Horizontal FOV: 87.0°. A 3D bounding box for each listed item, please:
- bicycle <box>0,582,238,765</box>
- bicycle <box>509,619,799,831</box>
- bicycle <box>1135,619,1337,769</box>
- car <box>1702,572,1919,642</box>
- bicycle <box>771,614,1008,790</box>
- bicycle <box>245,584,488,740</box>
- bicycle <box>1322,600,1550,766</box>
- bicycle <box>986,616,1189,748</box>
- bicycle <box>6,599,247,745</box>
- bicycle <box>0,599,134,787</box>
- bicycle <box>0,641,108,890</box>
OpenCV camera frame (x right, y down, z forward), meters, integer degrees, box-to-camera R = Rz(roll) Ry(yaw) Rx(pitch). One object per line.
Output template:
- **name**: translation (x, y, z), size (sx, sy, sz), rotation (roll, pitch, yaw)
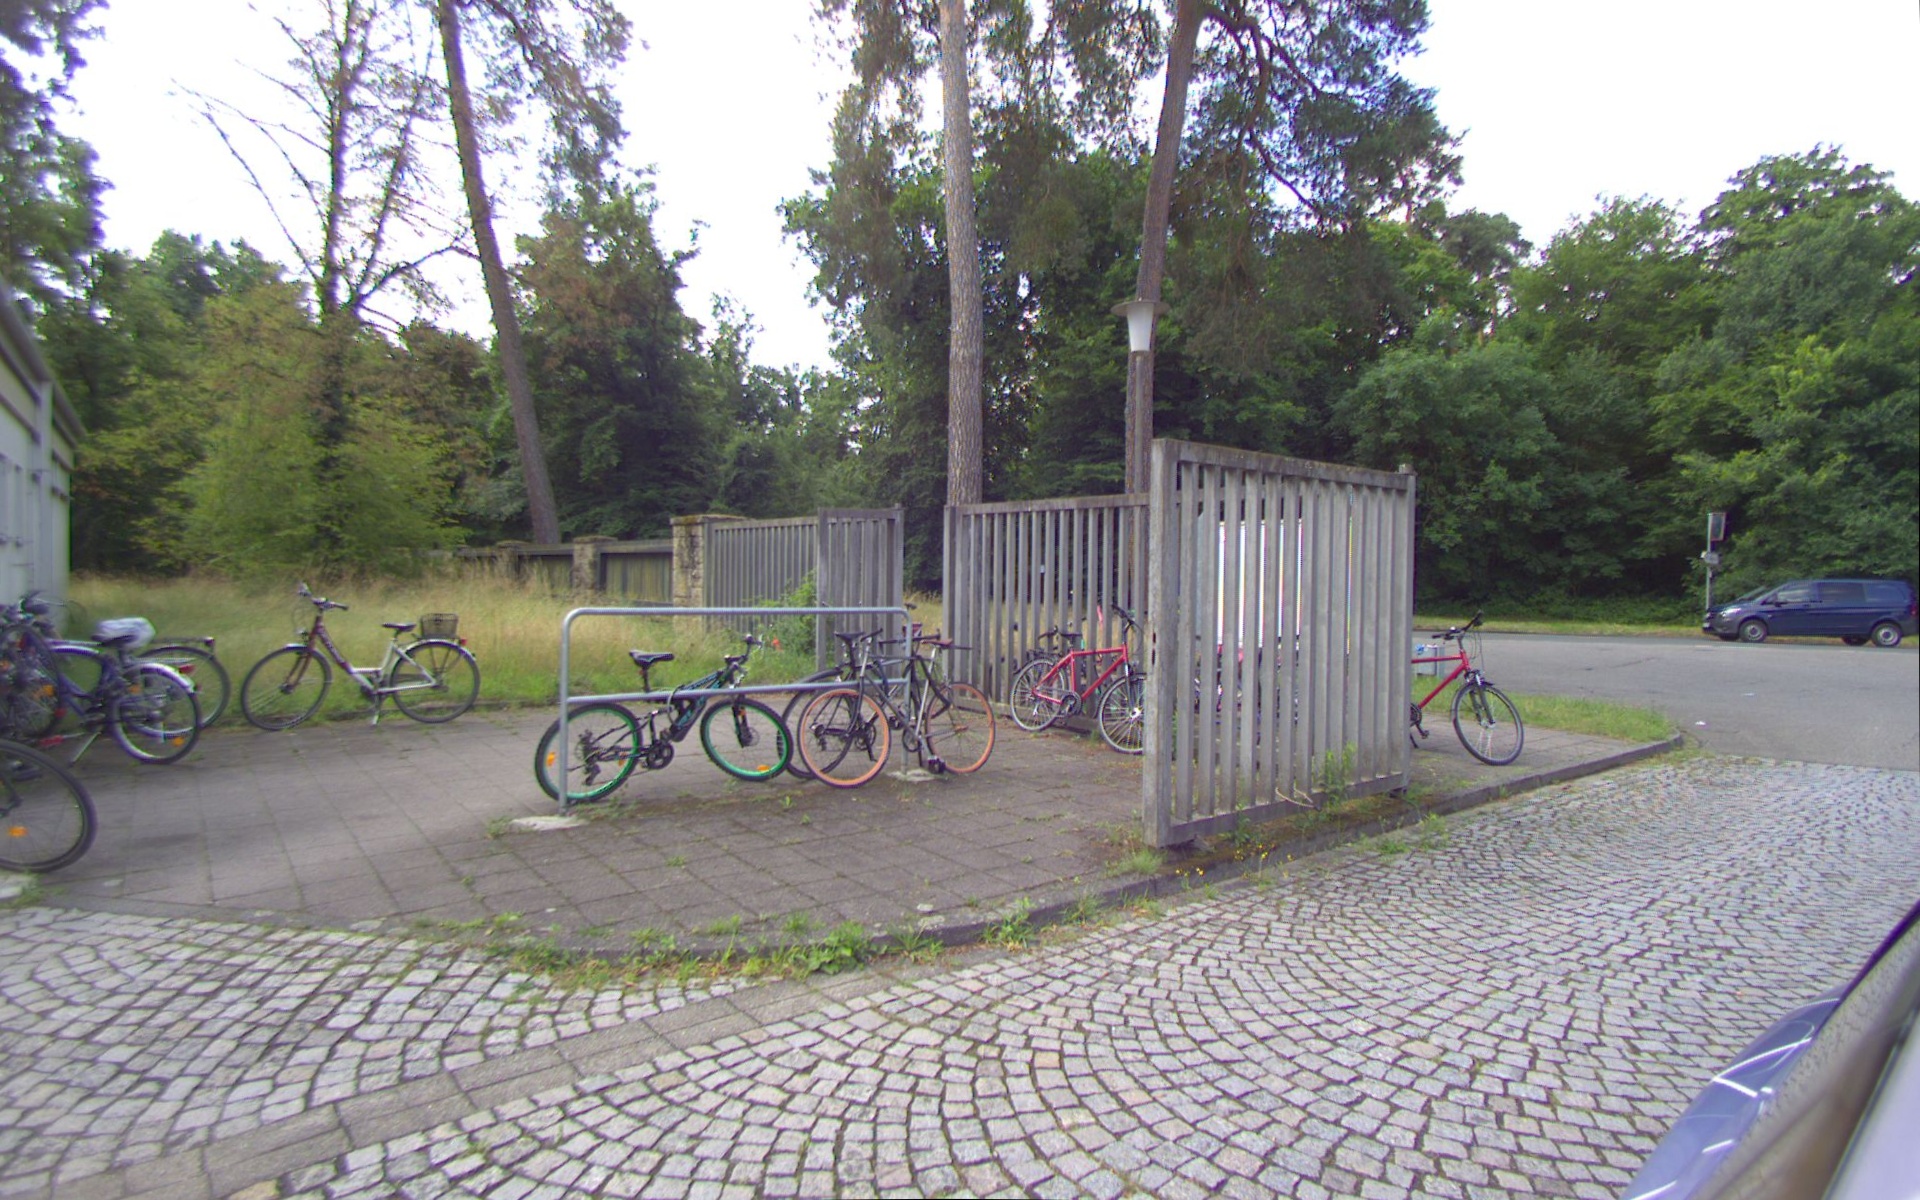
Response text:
- **bicycle**: translation (-5.823, 0.464, 6.800), size (1.710, 1.146, 0.473), rotation (1, 1, 7)
- **bicycle**: translation (-1.832, 0.680, 6.157), size (1.537, 1.075, 0.691), rotation (0, 2, -40)
- **bicycle**: translation (2.278, 0.735, 8.562), size (0.380, 1.046, 1.731), rotation (0, 2, -38)
- **car**: translation (25.491, 0.183, 29.464), size (5.872, 1.859, 1.987), rotation (2, 1, 20)
- **bicycle**: translation (-0.454, 0.654, 7.120), size (1.702, 1.070, 0.474), rotation (0, 1, -40)
- **bicycle**: translation (-4.804, 0.459, 8.256), size (1.648, 1.153, 0.649), rotation (0, 1, -34)
- **bicycle**: translation (4.172, 0.664, 8.949), size (1.650, 1.245, 0.738), rotation (4, 3, 43)
- **bicycle**: translation (1.086, 0.678, 9.013), size (0.495, 0.951, 1.864), rotation (0, 3, -45)
- **bicycle**: translation (-6.159, 0.513, 7.529), size (1.328, 1.023, 0.406), rotation (1, 1, -17)
- **bicycle**: translation (-6.000, 0.528, 6.222), size (1.723, 1.059, 0.453), rotation (1, 1, 12)
- **bicycle**: translation (-4.444, 0.697, 4.003), size (1.626, 0.964, 0.535), rotation (-1, 2, -40)
